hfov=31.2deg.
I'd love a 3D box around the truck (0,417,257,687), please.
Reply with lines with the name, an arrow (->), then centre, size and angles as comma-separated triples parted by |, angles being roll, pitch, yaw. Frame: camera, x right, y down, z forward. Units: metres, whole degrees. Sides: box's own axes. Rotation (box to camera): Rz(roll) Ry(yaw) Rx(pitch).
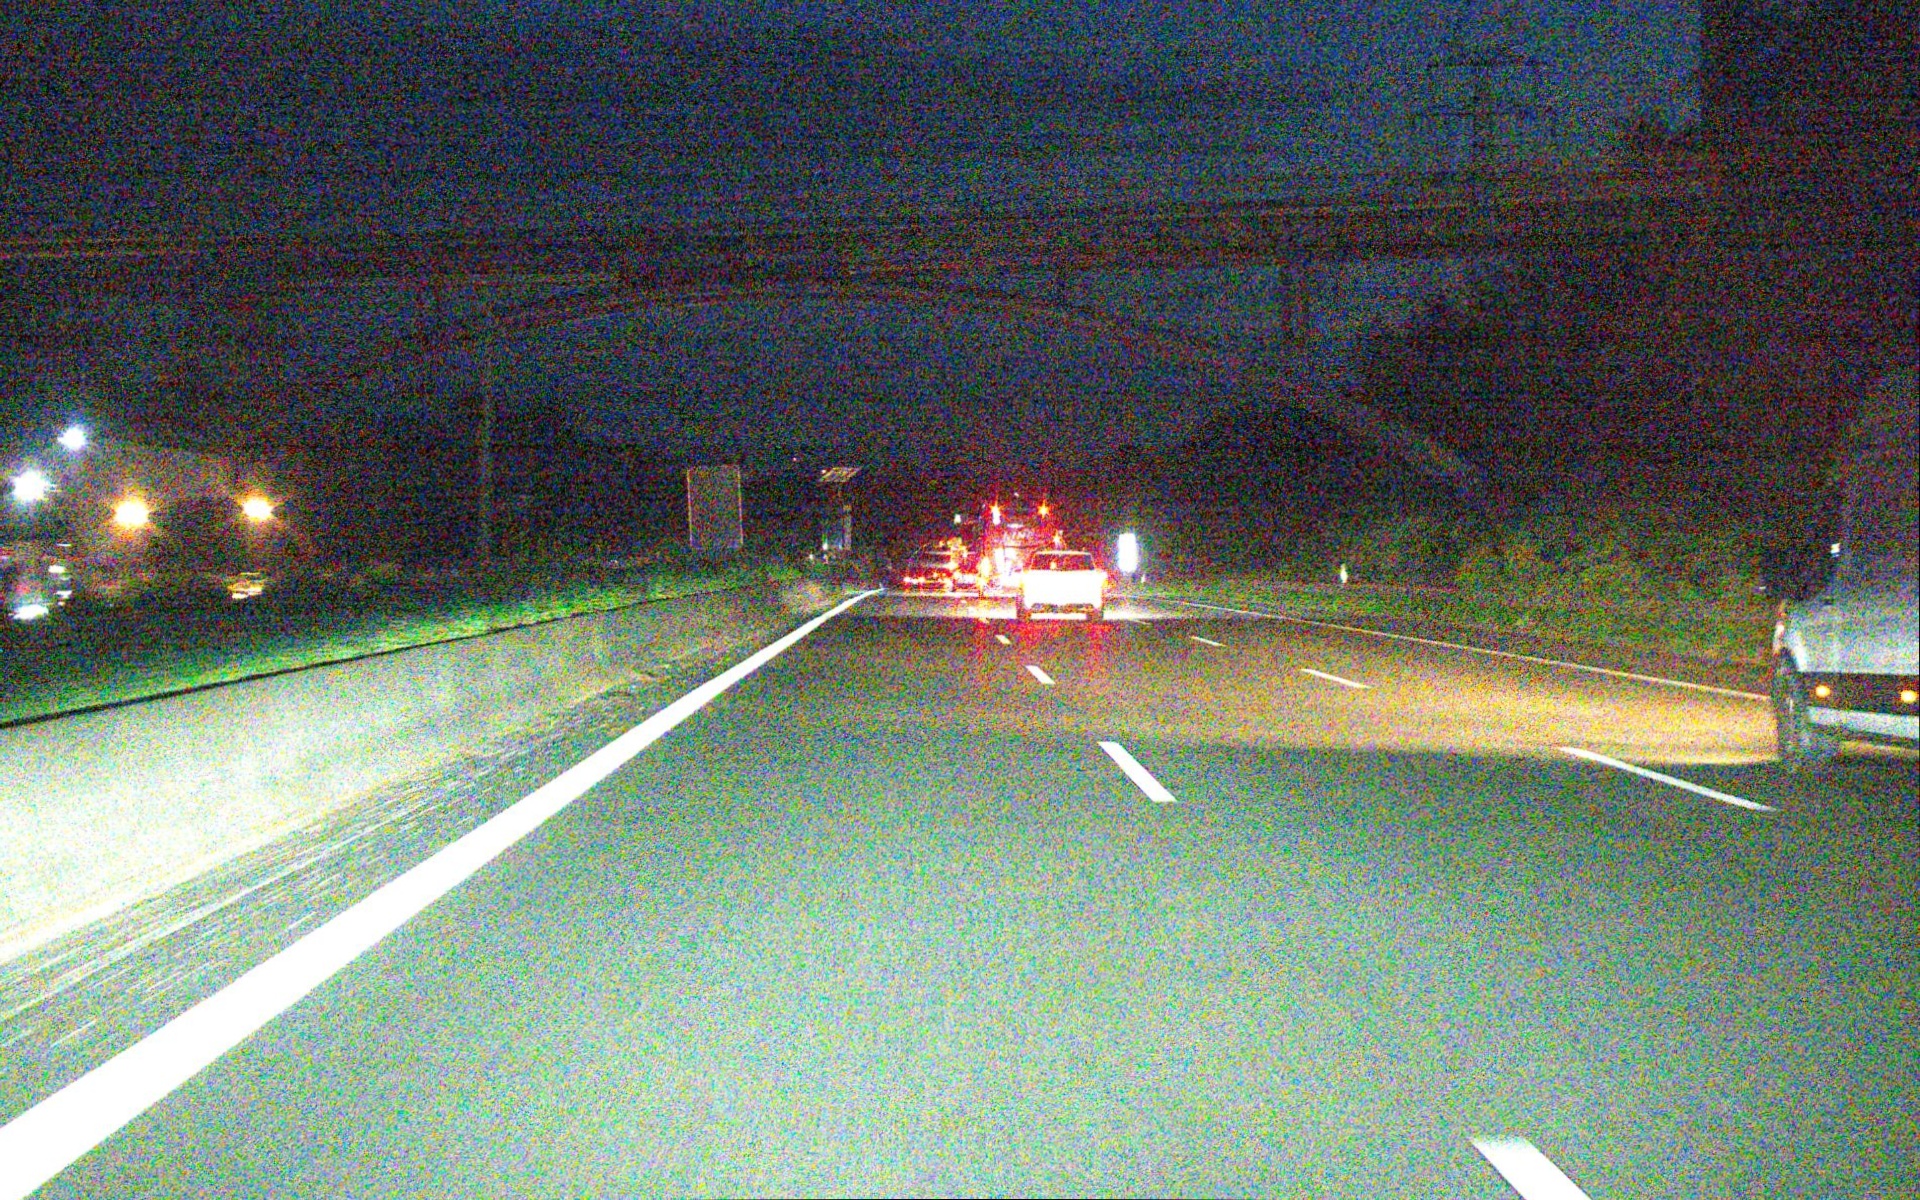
truck -> -16.855, -1.166, 65.920 | 3.246, 4.473, 17.441 | 1, 2, 0

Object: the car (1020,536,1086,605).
car -> 2.030, -0.660, 75.844 | 1.346, 1.382, 3.502 | 1, 2, 0

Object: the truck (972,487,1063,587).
truck -> 1.981, -2.329, 123.416 | 3.044, 3.313, 10.143 | 1, 2, 0

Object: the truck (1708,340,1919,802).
truck -> 6.574, -0.152, 21.209 | 2.076, 2.682, 7.308 | 1, 0, -2

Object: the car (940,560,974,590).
car -> -0.161, -1.401, 189.811 | 1.821, 1.461, 4.248 | 1, 2, 0

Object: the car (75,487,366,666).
car -> -9.246, -0.387, 43.665 | 2.208, 2.006, 6.945 | 1, 2, 0
